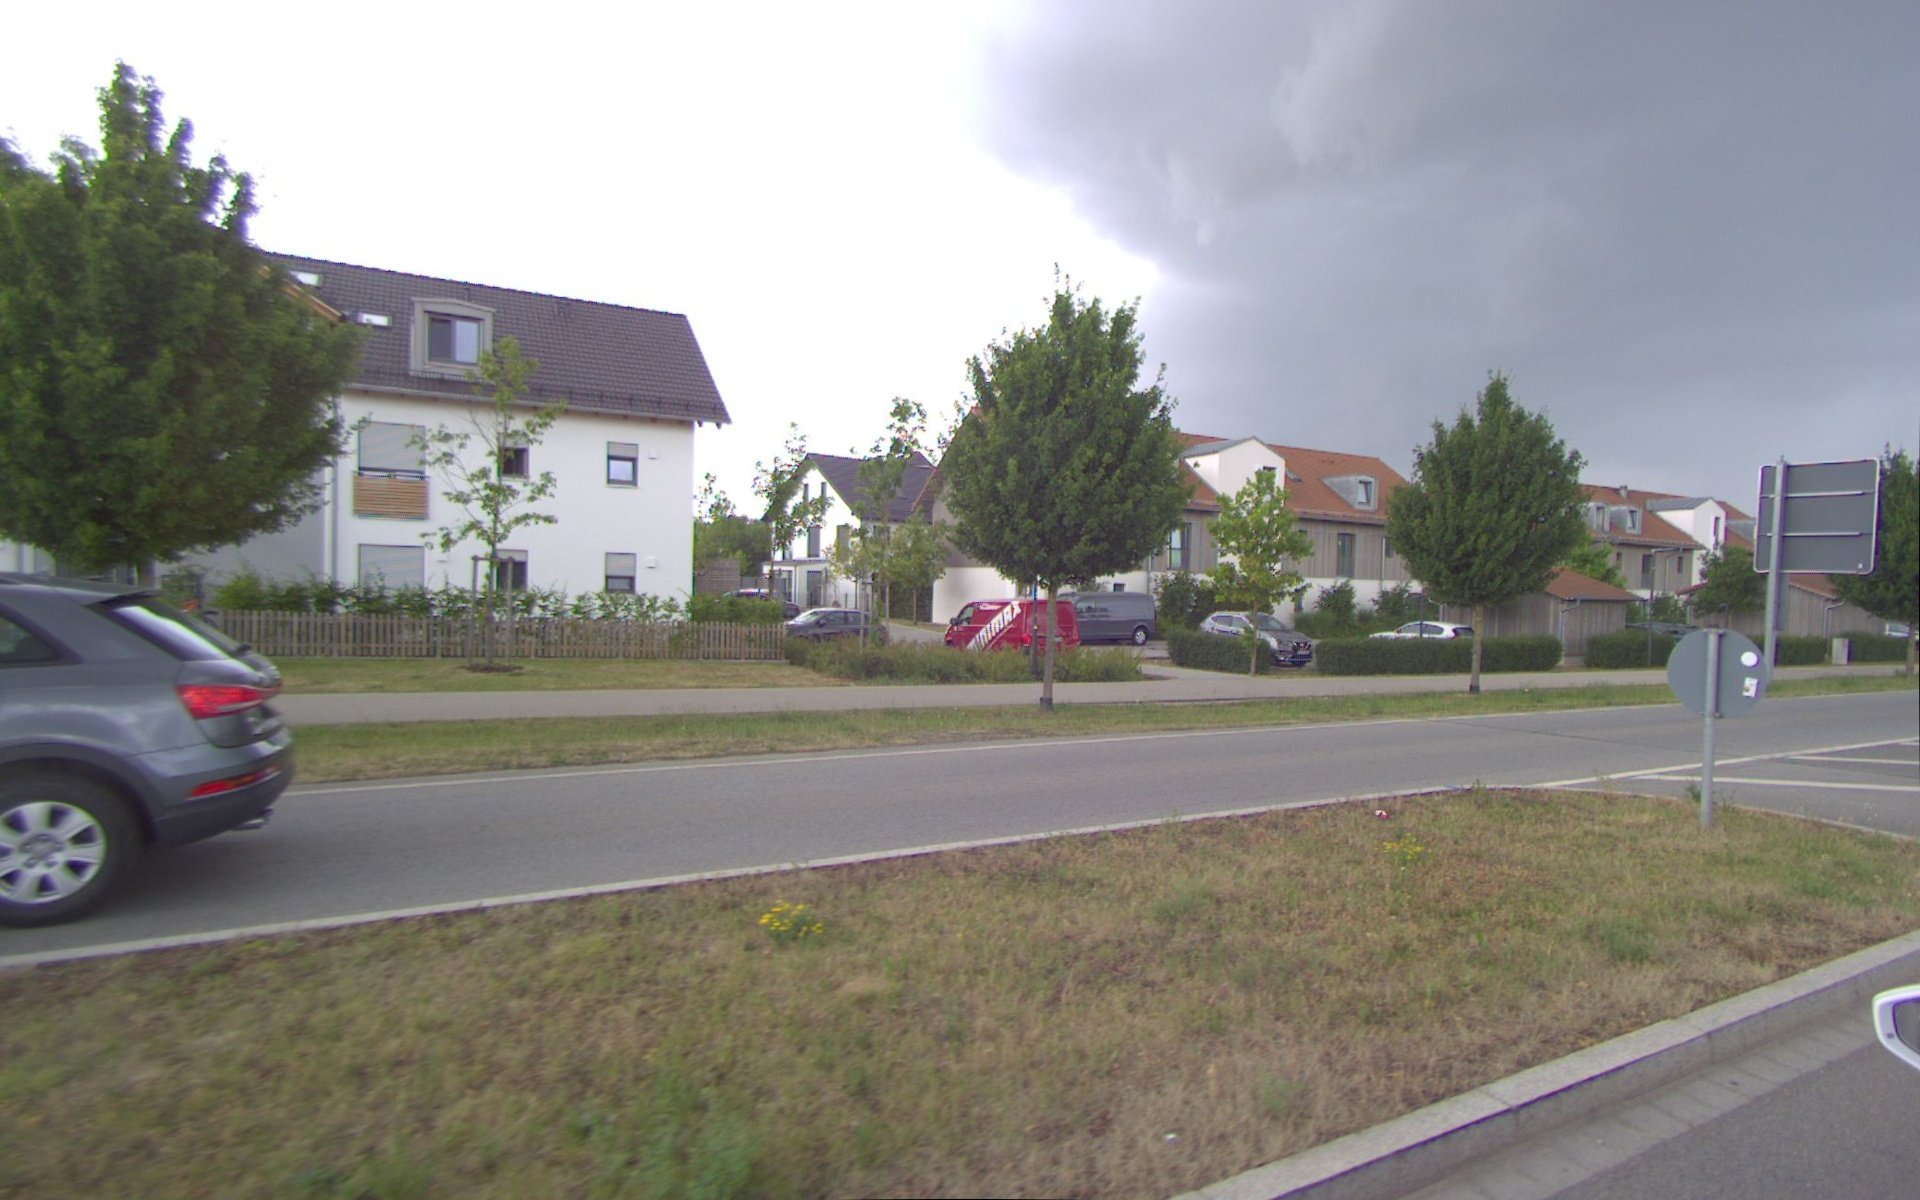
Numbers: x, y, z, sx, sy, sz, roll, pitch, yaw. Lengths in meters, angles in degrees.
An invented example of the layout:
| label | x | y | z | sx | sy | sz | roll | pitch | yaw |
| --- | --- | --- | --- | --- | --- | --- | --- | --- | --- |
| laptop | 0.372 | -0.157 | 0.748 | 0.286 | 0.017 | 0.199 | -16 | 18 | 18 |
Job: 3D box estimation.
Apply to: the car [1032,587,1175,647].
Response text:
| label | x | y | z | sx | sy | sz | roll | pitch | yaw |
| --- | --- | --- | --- | --- | --- | --- | --- | --- | --- |
| car | 5.517 | 0.655 | 38.443 | 5.133 | 2.041 | 1.986 | 1 | 4 | -27 |

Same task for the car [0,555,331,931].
| label | x | y | z | sx | sy | sz | roll | pitch | yaw |
| --- | --- | --- | --- | --- | --- | --- | --- | --- | --- |
| car | -5.390 | 0.596 | 4.578 | 4.166 | 1.603 | 1.817 | 1 | 0 | -30 |

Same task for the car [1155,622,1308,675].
| label | x | y | z | sx | sy | sz | roll | pitch | yaw |
| --- | --- | --- | --- | --- | --- | --- | --- | --- | --- |
| car | 8.539 | 1.484 | 32.024 | 1.882 | 1.449 | 4.885 | 1 | 0 | -28 |

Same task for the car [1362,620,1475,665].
| label | x | y | z | sx | sy | sz | roll | pitch | yaw |
| --- | --- | --- | --- | --- | --- | --- | --- | --- | --- |
| car | 16.674 | 1.518 | 36.670 | 1.545 | 1.509 | 3.498 | 1 | 0 | -29 |

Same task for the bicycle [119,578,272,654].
| label | x | y | z | sx | sy | sz | roll | pitch | yaw |
| --- | --- | --- | --- | --- | --- | --- | --- | --- | --- |
| bicycle | -15.065 | 0.318 | 19.889 | 2.316 | 1.431 | 0.679 | 1 | 0 | -30 |

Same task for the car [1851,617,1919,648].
| label | x | y | z | sx | sy | sz | roll | pitch | yaw |
| --- | --- | --- | --- | --- | --- | --- | --- | --- | --- |
| car | 54.989 | 1.904 | 58.601 | 1.975 | 1.577 | 3.970 | 1 | 3 | -28 |

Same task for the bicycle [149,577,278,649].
| label | x | y | z | sx | sy | sz | roll | pitch | yaw |
| --- | --- | --- | --- | --- | --- | --- | --- | --- | --- |
| bicycle | -15.492 | 0.267 | 20.927 | 2.070 | 1.436 | 0.679 | 1 | 0 | -30 |

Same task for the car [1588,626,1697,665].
| label | x | y | z | sx | sy | sz | roll | pitch | yaw |
| --- | --- | --- | --- | --- | --- | --- | --- | --- | --- |
| car | 28.936 | 1.897 | 42.682 | 1.545 | 1.509 | 3.498 | 1 | 0 | -29 |

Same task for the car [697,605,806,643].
| label | x | y | z | sx | sy | sz | roll | pitch | yaw |
| --- | --- | --- | --- | --- | --- | --- | --- | --- | --- |
| car | -8.432 | 0.964 | 40.738 | 3.953 | 1.439 | 1.867 | 1 | 0 | -30 |

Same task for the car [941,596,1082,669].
| label | x | y | z | sx | sy | sz | roll | pitch | yaw |
| --- | --- | --- | --- | --- | --- | --- | --- | --- | --- |
| car | 1.283 | 0.820 | 27.756 | 1.880 | 1.840 | 4.892 | 1 | 0 | -24 |

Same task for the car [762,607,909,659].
| label | x | y | z | sx | sy | sz | roll | pitch | yaw |
| --- | --- | --- | --- | --- | --- | --- | --- | --- | --- |
| car | -3.705 | 0.967 | 29.980 | 3.953 | 1.439 | 1.867 | 1 | 0 | -30 |

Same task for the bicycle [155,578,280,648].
| label | x | y | z | sx | sy | sz | roll | pitch | yaw |
| --- | --- | --- | --- | --- | --- | --- | --- | --- | --- |
| bicycle | -15.896 | 0.277 | 21.566 | 2.070 | 1.447 | 0.679 | 1 | 0 | -30 |
